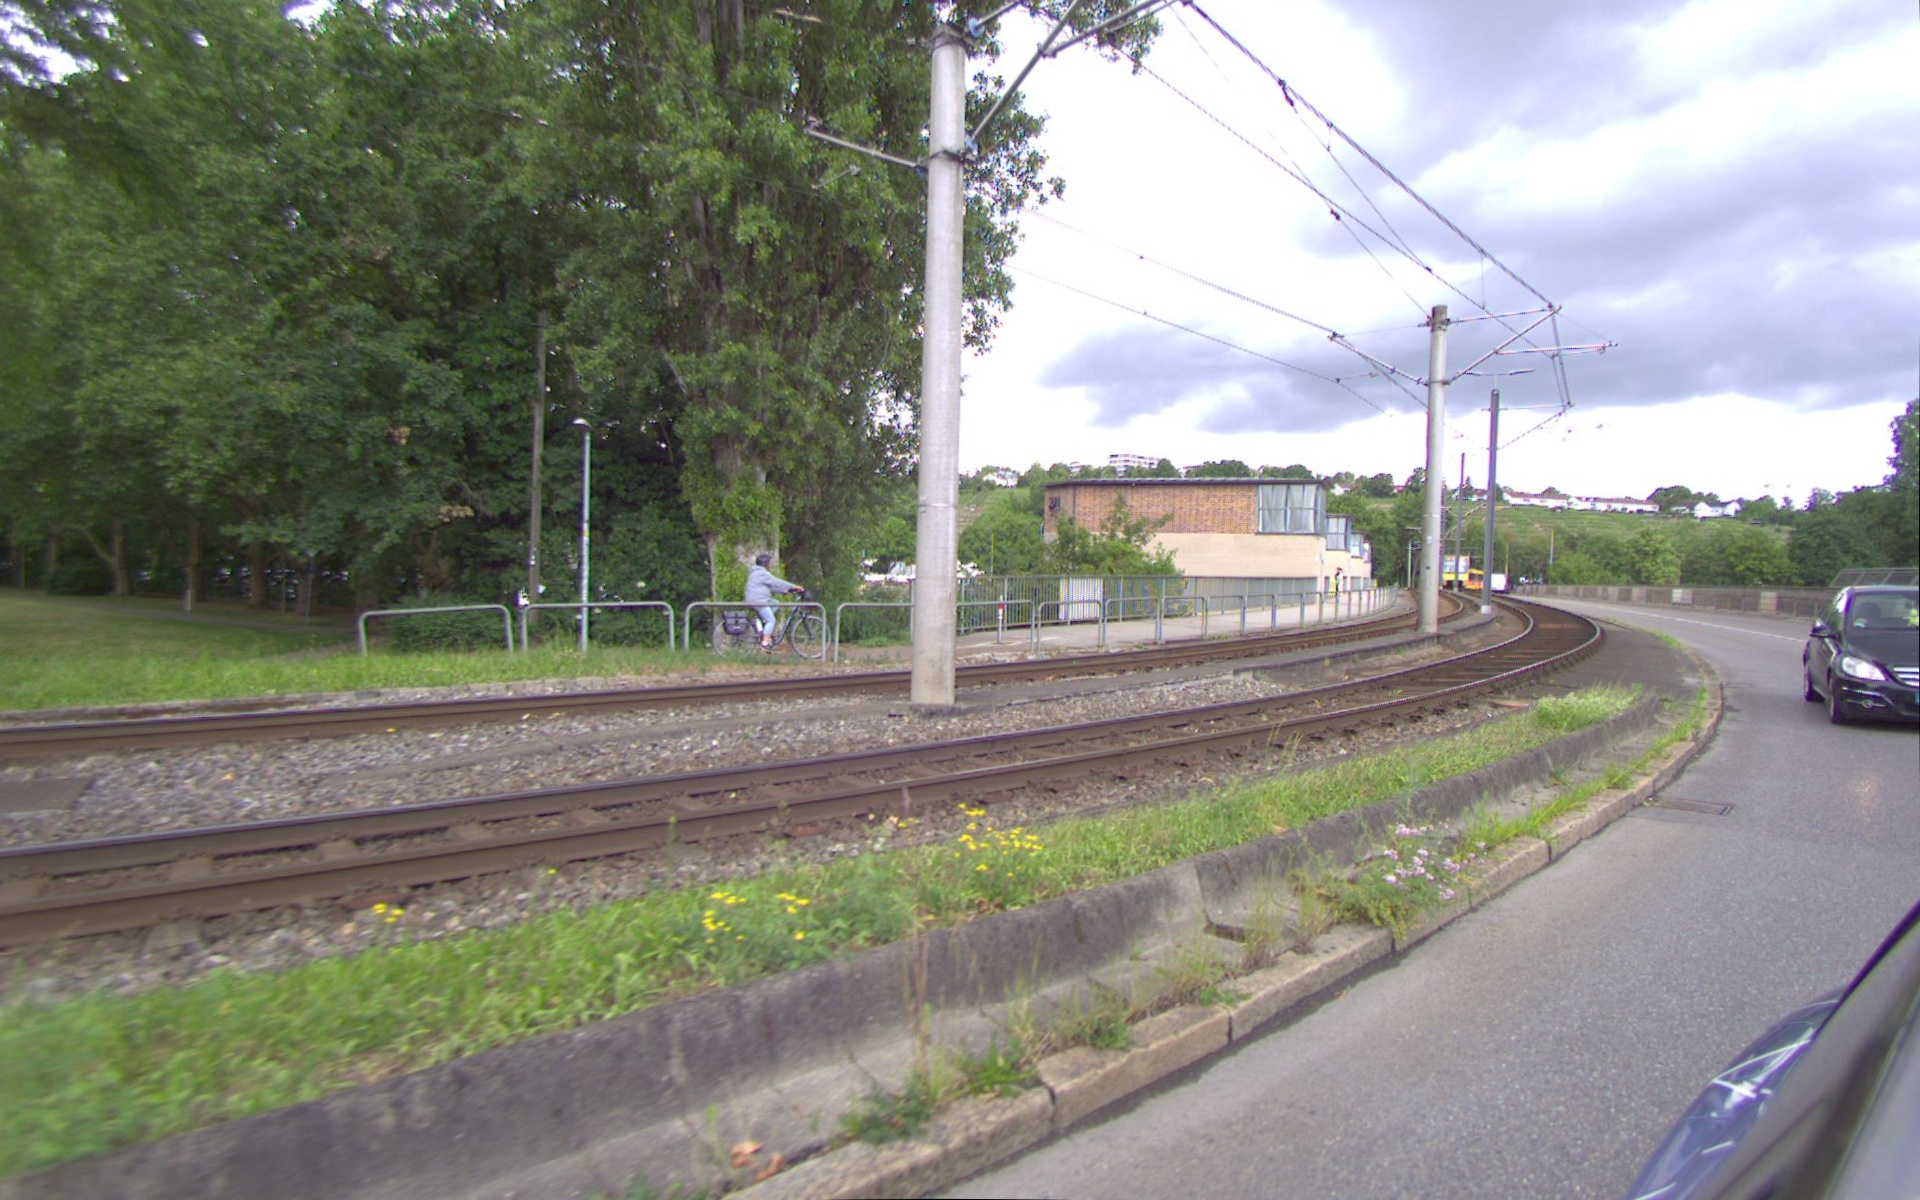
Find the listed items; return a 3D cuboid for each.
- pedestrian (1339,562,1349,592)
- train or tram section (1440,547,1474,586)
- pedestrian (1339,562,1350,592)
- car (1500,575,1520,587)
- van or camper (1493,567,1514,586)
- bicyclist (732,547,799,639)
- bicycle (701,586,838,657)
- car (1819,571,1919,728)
[{"bbox_3d":[21.843,-1.286,57.548,0.505,1.685,0.350,2,2,20],"label":"pedestrian"},{"bbox_3d":[52.463,-3.529,106.771,3.003,3.966,9.358,2,2,26],"label":"train or tram section"},{"bbox_3d":[21.709,-1.279,57.183,0.505,1.685,0.350,2,2,20],"label":"pedestrian"},{"bbox_3d":[80.481,-2.747,148.043,1.988,1.593,3.949,1,3,36],"label":"car"},{"bbox_3d":[72.986,-3.152,135.948,2.133,2.506,4.674,1,1,23],"label":"van or camper"},{"bbox_3d":[-3.010,-0.105,15.644,0.891,1.377,0.596,1,0,-24],"label":"bicyclist"},{"bbox_3d":[-2.930,0.321,15.646,2.036,1.063,0.428,0,0,-21],"label":"bicycle"},{"bbox_3d":[11.469,0.482,12.041,1.853,1.642,3.943,0,1,40],"label":"car"}]
